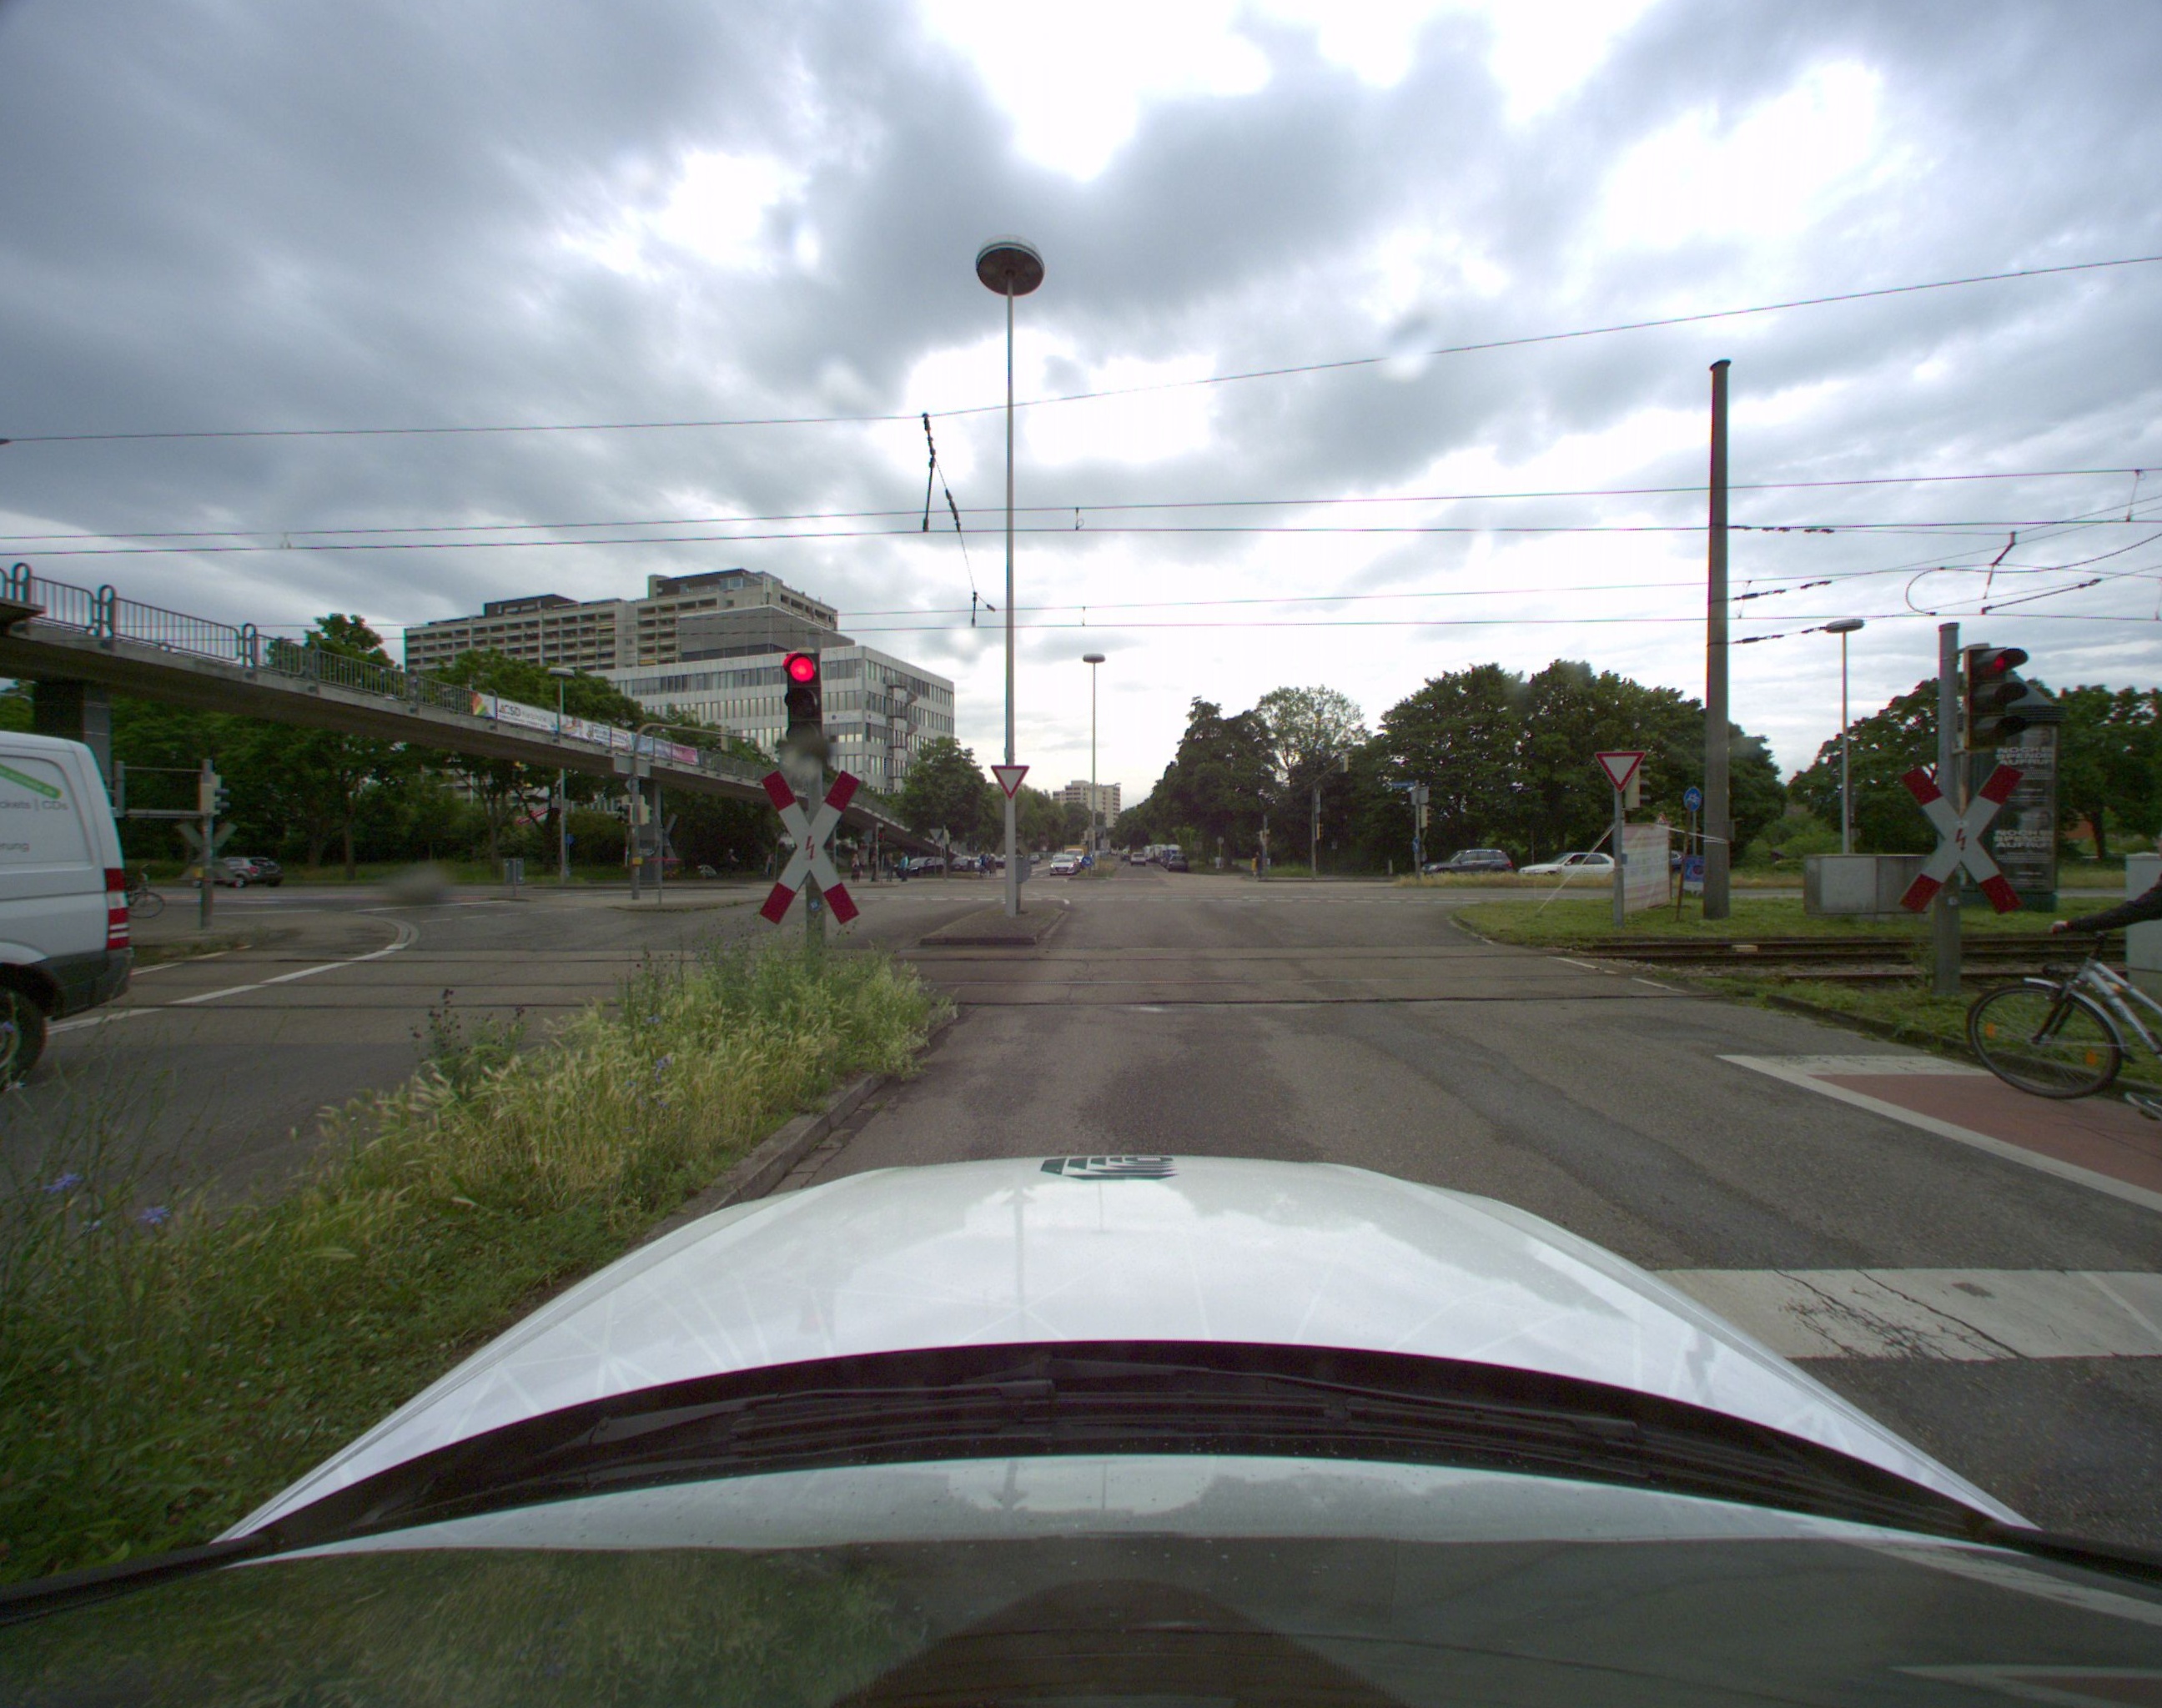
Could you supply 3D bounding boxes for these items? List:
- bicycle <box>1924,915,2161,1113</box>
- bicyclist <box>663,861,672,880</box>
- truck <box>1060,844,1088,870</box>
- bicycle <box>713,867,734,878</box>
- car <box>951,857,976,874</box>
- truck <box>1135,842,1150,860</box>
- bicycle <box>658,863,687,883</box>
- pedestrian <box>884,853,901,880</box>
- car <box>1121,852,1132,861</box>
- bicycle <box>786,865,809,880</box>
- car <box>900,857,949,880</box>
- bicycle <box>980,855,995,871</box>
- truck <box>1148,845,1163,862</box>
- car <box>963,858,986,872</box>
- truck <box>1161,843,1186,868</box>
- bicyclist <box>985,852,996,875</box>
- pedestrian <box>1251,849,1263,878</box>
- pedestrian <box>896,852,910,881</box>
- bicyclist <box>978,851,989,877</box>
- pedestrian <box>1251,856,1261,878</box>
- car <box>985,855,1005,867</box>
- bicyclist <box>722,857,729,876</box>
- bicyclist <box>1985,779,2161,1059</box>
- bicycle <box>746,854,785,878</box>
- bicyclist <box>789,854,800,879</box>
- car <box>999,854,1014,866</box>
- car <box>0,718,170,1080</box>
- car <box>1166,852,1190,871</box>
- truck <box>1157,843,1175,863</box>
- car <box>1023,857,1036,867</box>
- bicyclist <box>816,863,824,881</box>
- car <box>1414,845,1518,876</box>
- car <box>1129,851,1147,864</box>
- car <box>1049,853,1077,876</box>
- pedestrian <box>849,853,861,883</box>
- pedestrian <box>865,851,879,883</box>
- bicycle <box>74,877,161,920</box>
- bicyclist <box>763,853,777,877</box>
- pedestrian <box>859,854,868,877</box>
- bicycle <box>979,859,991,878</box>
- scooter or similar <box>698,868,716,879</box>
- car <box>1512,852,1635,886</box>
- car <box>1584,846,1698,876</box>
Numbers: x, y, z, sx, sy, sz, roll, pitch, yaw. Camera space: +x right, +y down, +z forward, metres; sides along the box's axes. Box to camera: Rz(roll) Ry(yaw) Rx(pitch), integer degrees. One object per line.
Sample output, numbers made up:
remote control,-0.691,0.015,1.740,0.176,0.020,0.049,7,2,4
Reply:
bicycle,6.028,0.910,4.646,0.381,0.980,2.030,0,-1,2
bicyclist,-27.011,1.090,53.178,0.405,1.253,0.276,0,0,-5
truck,-0.538,0.250,71.767,2.147,2.199,5.844,0,0,2
bicycle,-23.780,1.241,54.176,1.303,0.692,0.287,0,0,-34
car,-11.213,1.044,78.082,1.665,1.552,3.894,0,0,3
truck,10.781,-0.445,142.908,1.988,3.009,5.768,0,-1,-1
bicycle,-26.709,1.220,53.267,1.701,1.304,0.388,0,0,-4
pedestrian,-10.734,0.717,46.324,0.917,1.511,0.402,0,0,-10
car,7.954,0.484,142.504,1.549,1.505,3.998,0,0,-1
bicycle,-19.185,1.227,55.207,0.628,0.925,2.524,0,0,2
car,-11.042,0.995,57.676,1.658,1.552,4.018,0,0,17
bicycle,-6.652,0.607,57.962,0.724,1.101,2.265,0,0,2
truck,12.087,-0.066,132.073,1.987,2.573,5.377,0,-1,0
car,-10.869,1.104,83.573,1.665,1.387,3.898,0,0,3
truck,10.268,0.208,90.663,2.166,2.656,6.249,-1,-1,2
bicyclist,-6.516,0.687,58.816,0.676,1.594,0.695,0,-1,1
pedestrian,10.625,0.552,49.172,0.654,1.750,0.459,0,0,1
pedestrian,-10.102,0.706,46.221,0.685,1.605,0.487,0,0,-3
bicyclist,-6.702,0.665,56.075,0.642,1.768,0.647,0,0,1
pedestrian,10.689,0.771,49.761,0.525,1.342,0.525,0,0,1
car,-10.094,0.825,95.702,1.757,1.395,4.002,0,0,2
bicyclist,-23.672,0.834,54.261,0.385,1.303,0.275,0,0,-35
bicyclist,5.830,0.345,4.469,0.619,1.424,0.961,4,0,1
bicycle,-20.987,0.799,54.201,2.350,1.625,0.528,0,0,0
bicyclist,-19.487,0.846,55.333,0.563,1.644,0.532,0,-1,2
car,-9.725,0.799,106.278,1.439,1.552,3.666,0,0,2
car,-7.841,0.330,3.458,2.129,2.292,5.203,-2,0,-3
car,8.789,0.622,73.885,1.777,1.662,4.002,0,0,2
truck,12.490,-0.174,119.982,1.988,2.838,5.727,0,0,-2
car,-7.981,1.228,126.052,1.665,1.552,4.003,0,0,3
bicyclist,-17.591,1.231,54.824,0.403,1.181,0.378,0,1,4
car,19.560,0.329,41.508,4.447,1.504,1.847,0,0,2
car,6.917,0.390,99.651,2.013,1.505,4.002,0,0,2
car,-1.230,0.712,58.115,1.782,1.519,4.327,0,0,2
pedestrian,-12.762,0.800,45.996,0.619,1.691,0.403,0,0,-12
pedestrian,-11.882,0.742,46.322,0.636,1.803,0.800,0,0,-7
bicycle,-21.707,0.997,18.339,2.017,0.921,0.375,0,0,13
bicyclist,-20.694,0.734,54.208,0.745,1.625,0.528,0,0,0
pedestrian,-15.225,0.814,57.083,0.580,1.579,0.777,0,0,-17
bicycle,-6.630,0.992,56.336,0.541,1.267,2.112,0,0,2
scooter or similar,-24.623,1.279,53.610,1.001,0.715,0.402,0,0,-34
car,20.475,0.623,33.957,4.120,1.357,1.648,0,0,2
car,28.141,0.338,41.046,4.447,1.440,1.847,0,0,2
